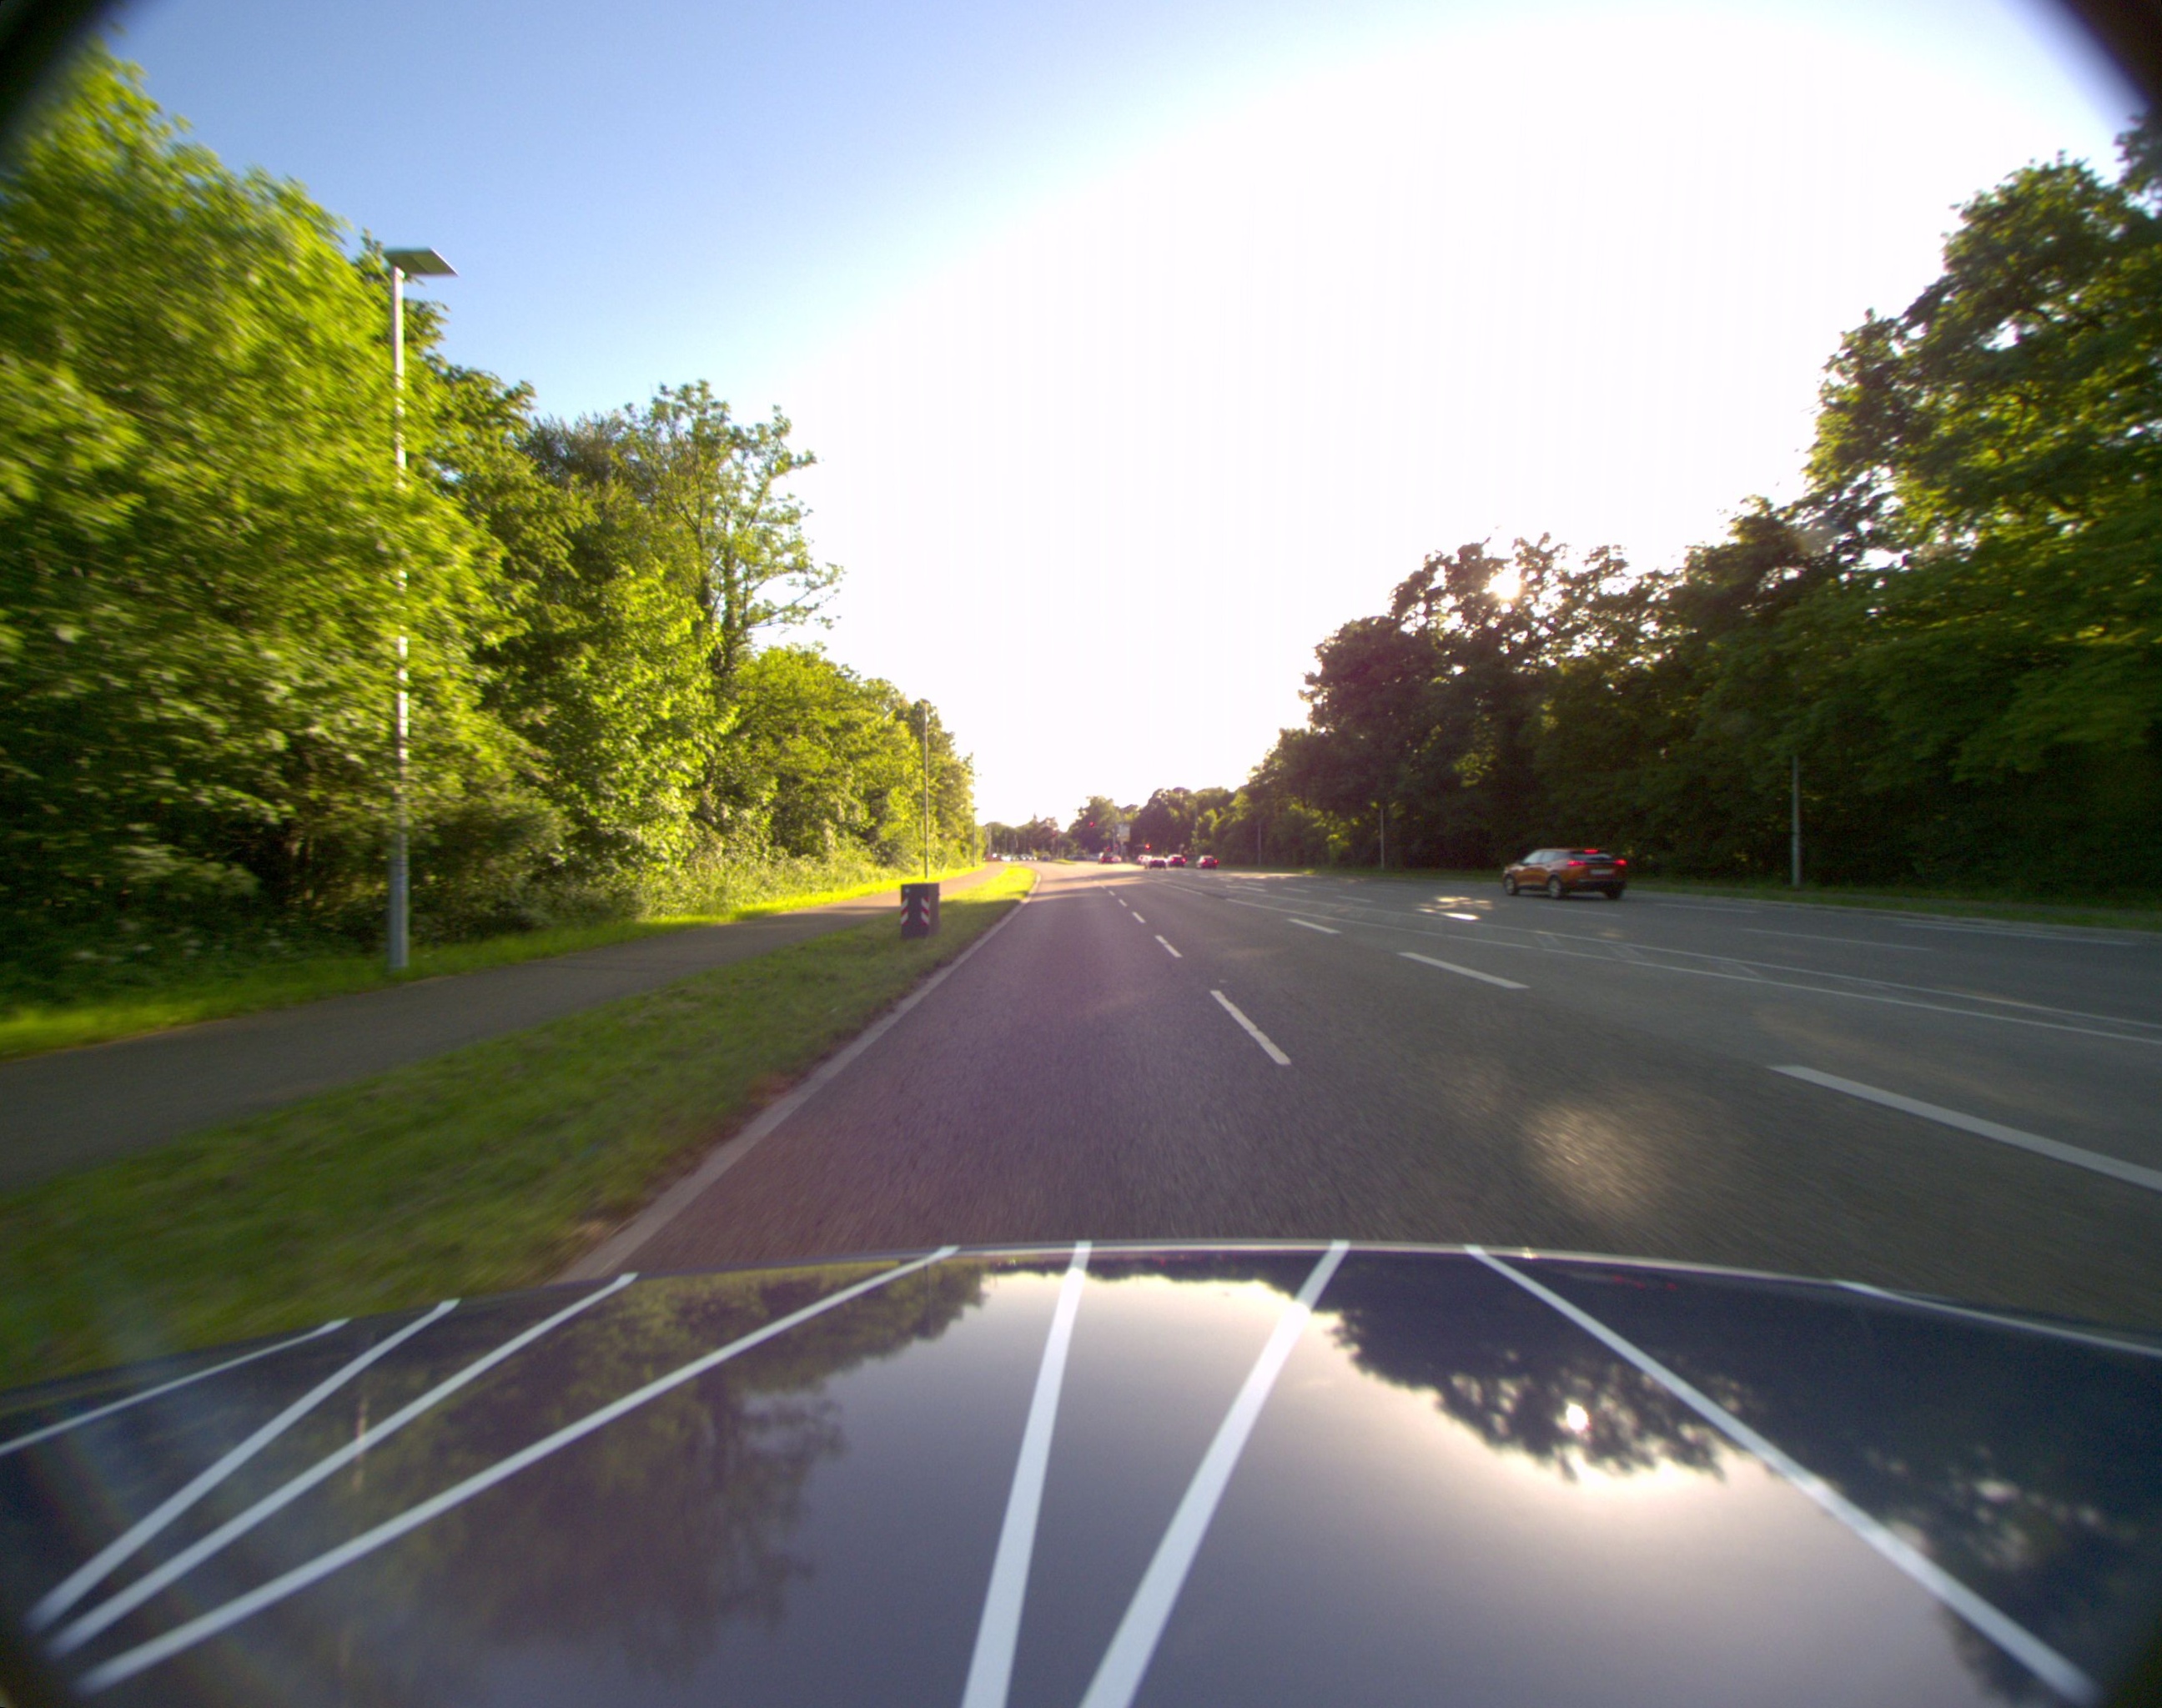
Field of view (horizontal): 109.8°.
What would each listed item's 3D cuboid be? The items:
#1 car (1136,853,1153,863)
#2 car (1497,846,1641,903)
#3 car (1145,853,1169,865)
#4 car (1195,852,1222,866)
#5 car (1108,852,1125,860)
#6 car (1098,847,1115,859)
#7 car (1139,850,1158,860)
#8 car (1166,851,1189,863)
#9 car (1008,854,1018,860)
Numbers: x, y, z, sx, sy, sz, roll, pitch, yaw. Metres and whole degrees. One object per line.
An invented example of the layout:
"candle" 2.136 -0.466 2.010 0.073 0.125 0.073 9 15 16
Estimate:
"car" 10.541 0.634 127.299 1.999 1.555 4.645 2 0 -5
"car" 14.526 0.547 22.935 1.829 1.536 4.257 -1 0 4
"car" 7.684 0.489 76.921 1.749 1.227 4.671 0 0 -3
"car" 14.135 0.518 84.316 1.999 1.555 4.336 0 0 -3
"car" 6.199 0.325 133.377 2.000 1.442 4.644 1 0 -8
"car" 4.181 -0.167 123.463 2.000 1.950 4.644 1 0 -8
"car" 10.710 0.120 120.805 2.000 1.555 4.644 3 0 -7
"car" 12.879 0.374 101.801 1.999 1.627 4.841 0 0 -5
"car" -17.110 0.738 191.271 2.000 1.510 3.995 -1 1 -10
